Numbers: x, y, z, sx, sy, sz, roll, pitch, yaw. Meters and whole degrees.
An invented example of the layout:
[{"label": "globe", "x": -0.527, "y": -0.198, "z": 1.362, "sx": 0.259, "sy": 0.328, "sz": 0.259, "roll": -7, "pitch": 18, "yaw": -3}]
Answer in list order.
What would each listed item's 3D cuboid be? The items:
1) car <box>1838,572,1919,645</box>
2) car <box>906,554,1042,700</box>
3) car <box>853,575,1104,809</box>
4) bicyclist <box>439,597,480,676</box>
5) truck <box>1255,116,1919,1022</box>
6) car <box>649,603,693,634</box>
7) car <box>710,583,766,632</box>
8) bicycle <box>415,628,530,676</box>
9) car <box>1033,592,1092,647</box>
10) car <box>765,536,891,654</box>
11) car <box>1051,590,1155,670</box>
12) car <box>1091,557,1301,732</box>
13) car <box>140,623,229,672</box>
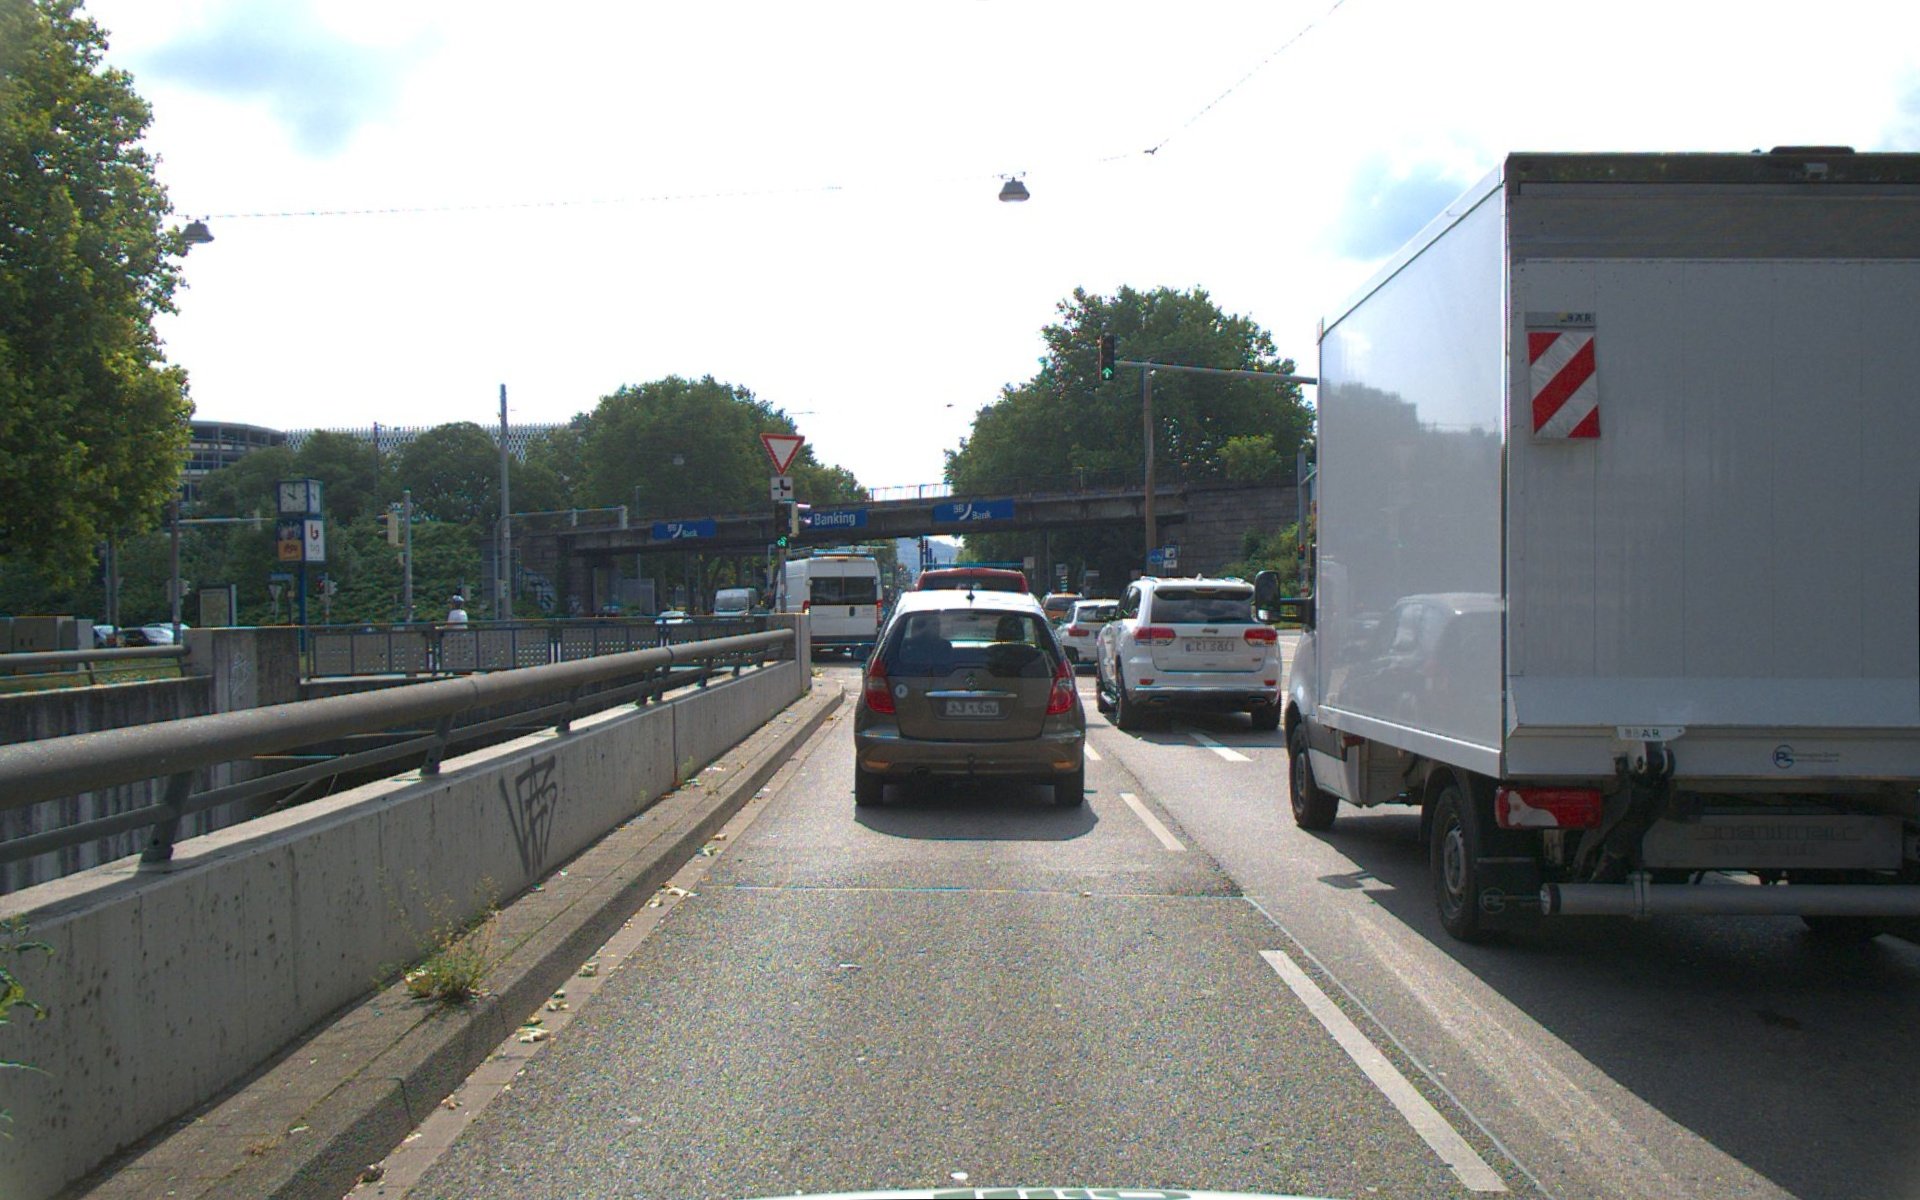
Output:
[{"label": "car", "x": 24.193, "y": 0.196, "z": 41.151, "sx": 3.941, "sy": 1.779, "sz": 1.970, "roll": -1, "pitch": 0, "yaw": 34}, {"label": "car", "x": 0.192, "y": 0.369, "z": 25.672, "sx": 1.915, "sy": 2.052, "sz": 4.676, "roll": 0, "pitch": 0, "yaw": 0}, {"label": "car", "x": 0.129, "y": 0.625, "z": 13.512, "sx": 1.755, "sy": 1.636, "sz": 3.799, "roll": 0, "pitch": 1, "yaw": 0}, {"label": "bicyclist", "x": -9.178, "y": 0.657, "z": 30.341, "sx": 0.499, "sy": 1.429, "sz": 0.626, "roll": -1, "pitch": 0, "yaw": 4}, {"label": "truck", "x": 3.244, "y": -0.093, "z": 8.810, "sx": 2.396, "sy": 3.176, "sz": 6.028, "roll": 0, "pitch": 0, "yaw": 1}, {"label": "car", "x": -15.467, "y": 0.972, "z": 88.670, "sx": 1.668, "sy": 1.502, "sz": 3.999, "roll": -4, "pitch": 0, "yaw": -1}, {"label": "car", "x": -12.226, "y": 0.406, "z": 91.359, "sx": 2.211, "sy": 2.570, "sz": 5.627, "roll": -1, "pitch": 0, "yaw": 1}, {"label": "bicycle", "x": -8.926, "y": 0.951, "z": 30.319, "sx": 1.930, "sy": 0.841, "sz": 0.612, "roll": -1, "pitch": 0, "yaw": 3}, {"label": "car", "x": 3.005, "y": 0.592, "z": 48.887, "sx": 1.512, "sy": 1.548, "sz": 3.616, "roll": 0, "pitch": -1, "yaw": 0}, {"label": "car", "x": -3.395, "y": -0.066, "z": 41.634, "sx": 2.162, "sy": 2.774, "sz": 4.907, "roll": 1, "pitch": -1, "yaw": -17}, {"label": "car", "x": 2.872, "y": 0.613, "z": 33.928, "sx": 1.814, "sy": 1.548, "sz": 3.616, "roll": 0, "pitch": -1, "yaw": 0}, {"label": "car", "x": 2.793, "y": 0.462, "z": 20.574, "sx": 1.954, "sy": 1.934, "sz": 4.509, "roll": 0, "pitch": 1, "yaw": 0}, {"label": "car", "x": -36.850, "y": 2.257, "z": 78.554, "sx": 3.945, "sy": 1.778, "sz": 1.970, "roll": 8, "pitch": 2, "yaw": 34}]
